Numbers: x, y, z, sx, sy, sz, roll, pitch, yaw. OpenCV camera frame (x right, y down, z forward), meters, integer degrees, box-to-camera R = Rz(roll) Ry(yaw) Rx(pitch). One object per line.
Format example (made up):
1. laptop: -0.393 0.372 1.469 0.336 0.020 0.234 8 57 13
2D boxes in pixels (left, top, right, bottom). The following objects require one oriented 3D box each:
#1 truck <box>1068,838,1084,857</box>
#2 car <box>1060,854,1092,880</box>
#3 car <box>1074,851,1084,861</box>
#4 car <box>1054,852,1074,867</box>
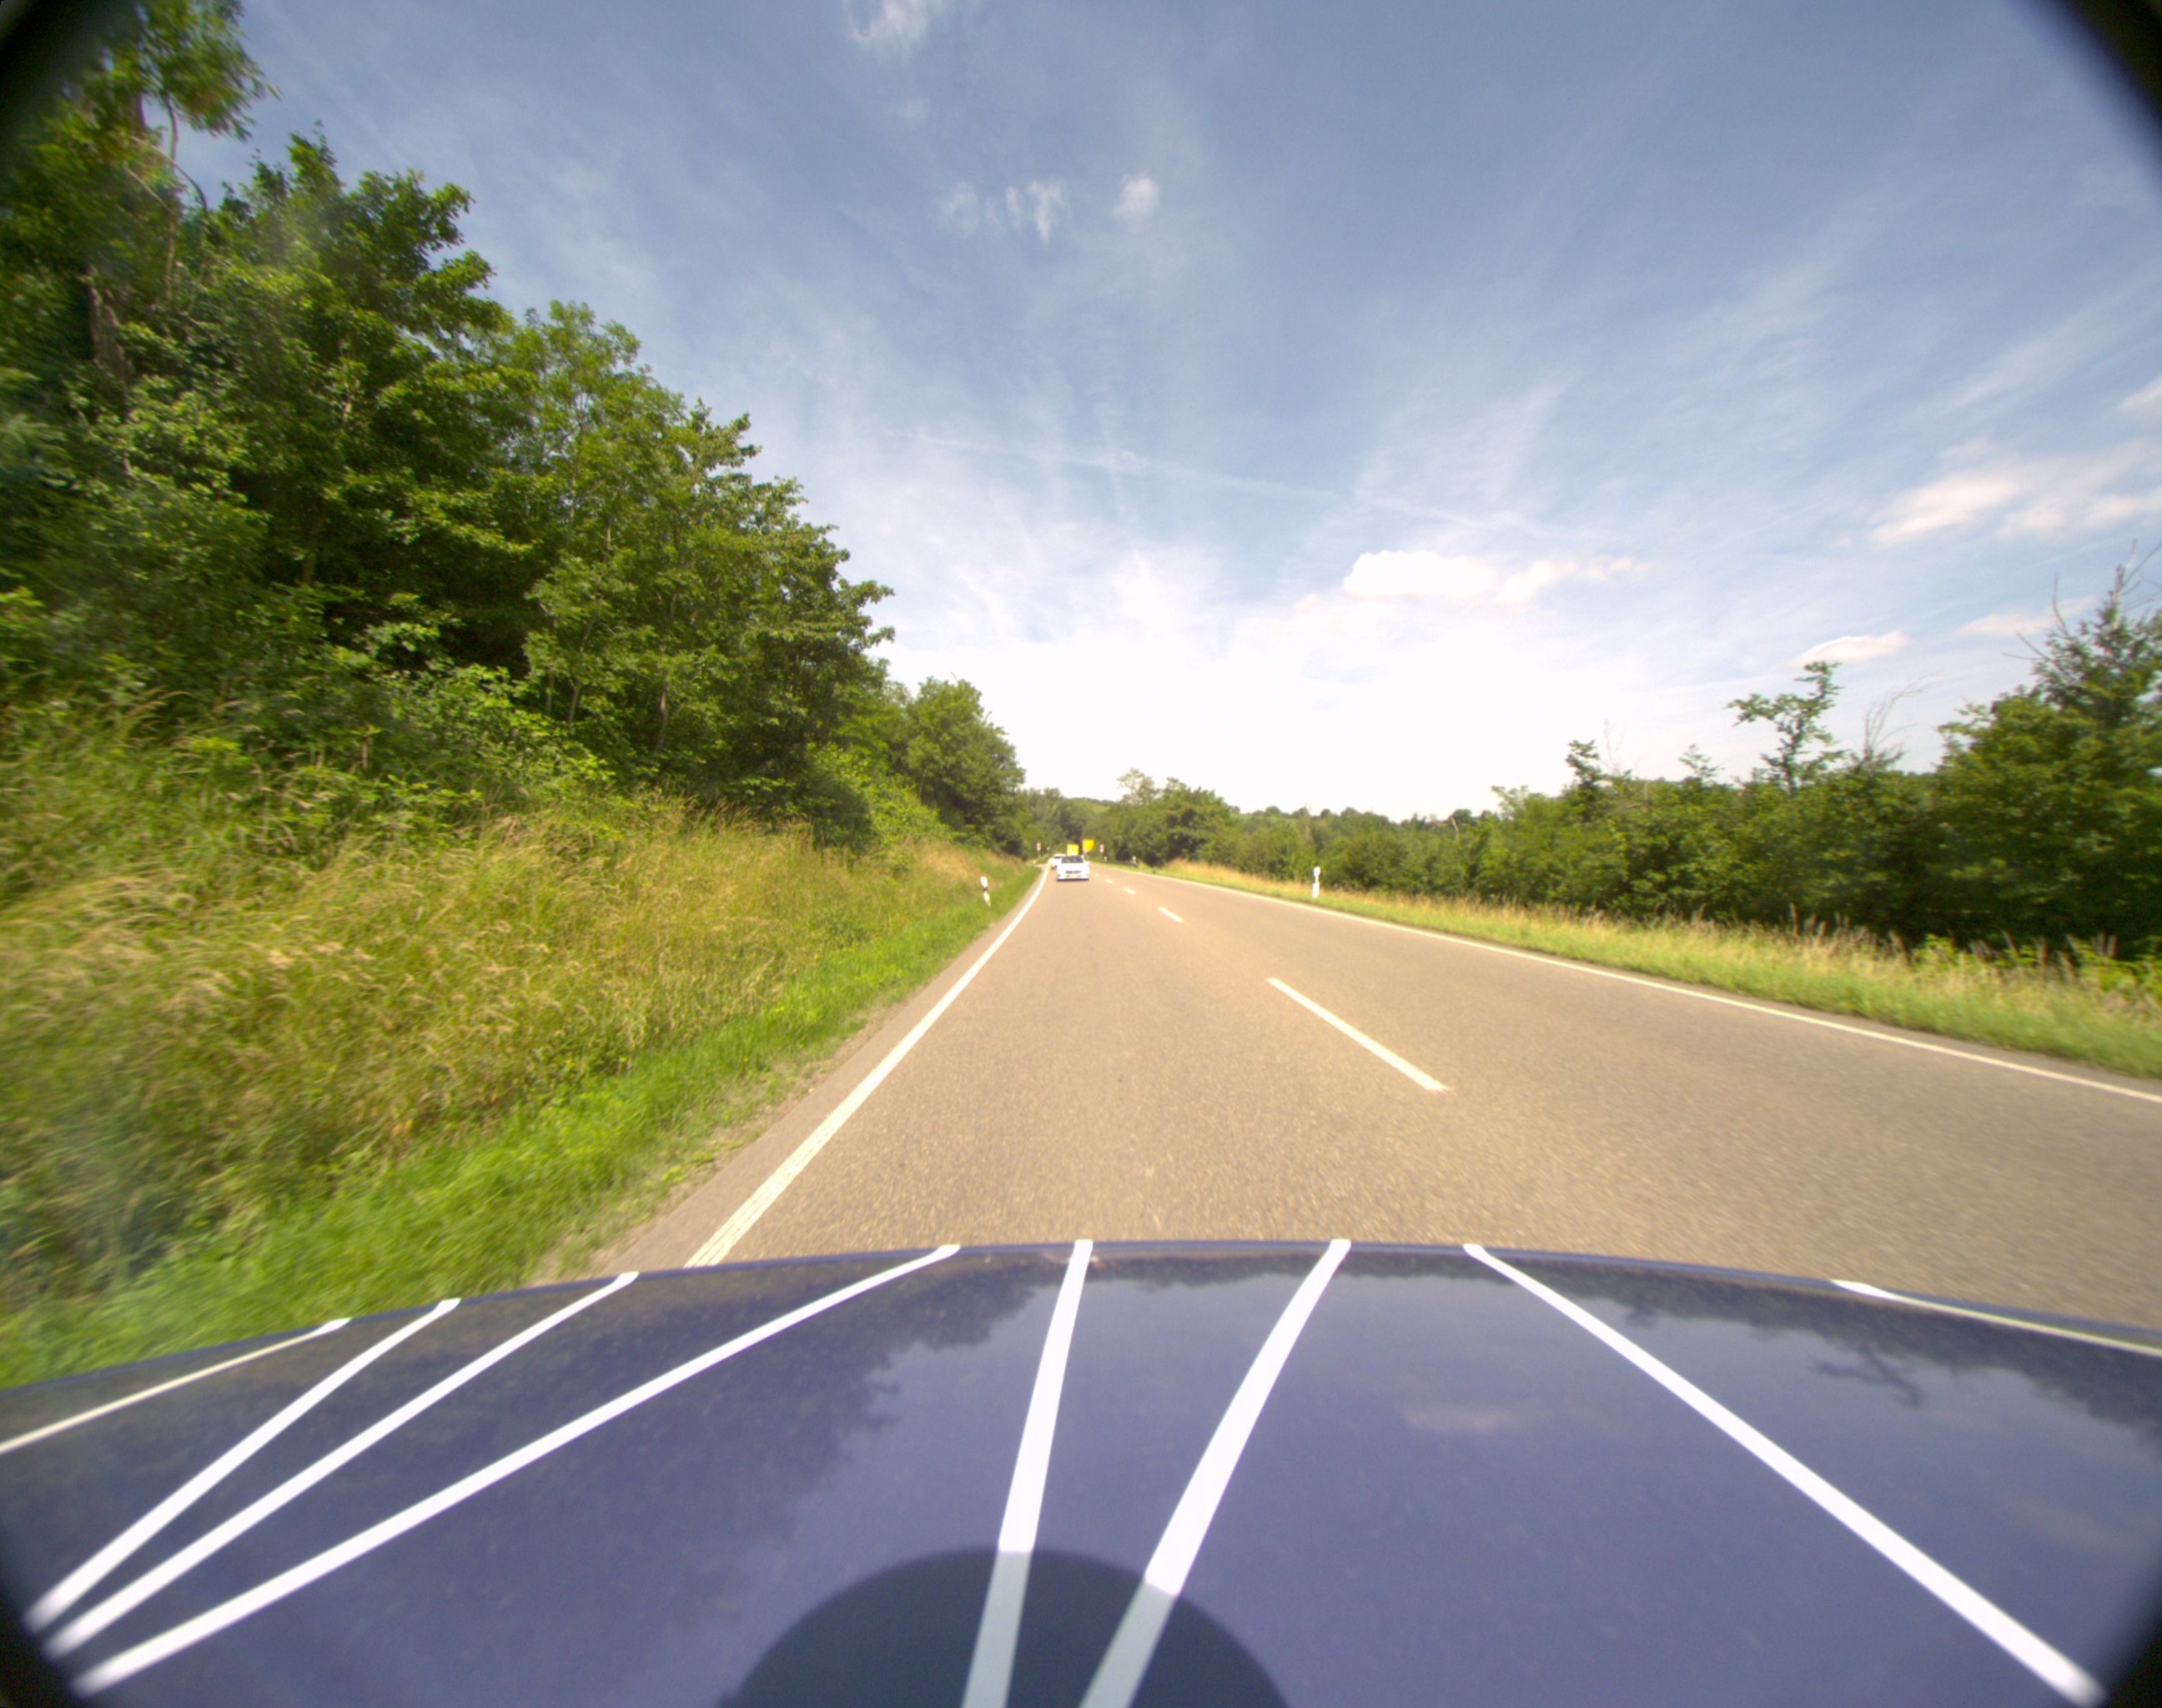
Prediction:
1. truck: -1.267 -1.625 189.828 3.339 4.503 8.574 2 0 -4
2. car: -0.303 0.733 44.688 1.773 1.437 4.000 -2 0 -1
3. car: -0.441 0.413 150.907 1.842 1.834 4.224 2 0 0
4. car: -1.729 0.514 76.671 1.866 1.480 3.999 -1 0 -2
